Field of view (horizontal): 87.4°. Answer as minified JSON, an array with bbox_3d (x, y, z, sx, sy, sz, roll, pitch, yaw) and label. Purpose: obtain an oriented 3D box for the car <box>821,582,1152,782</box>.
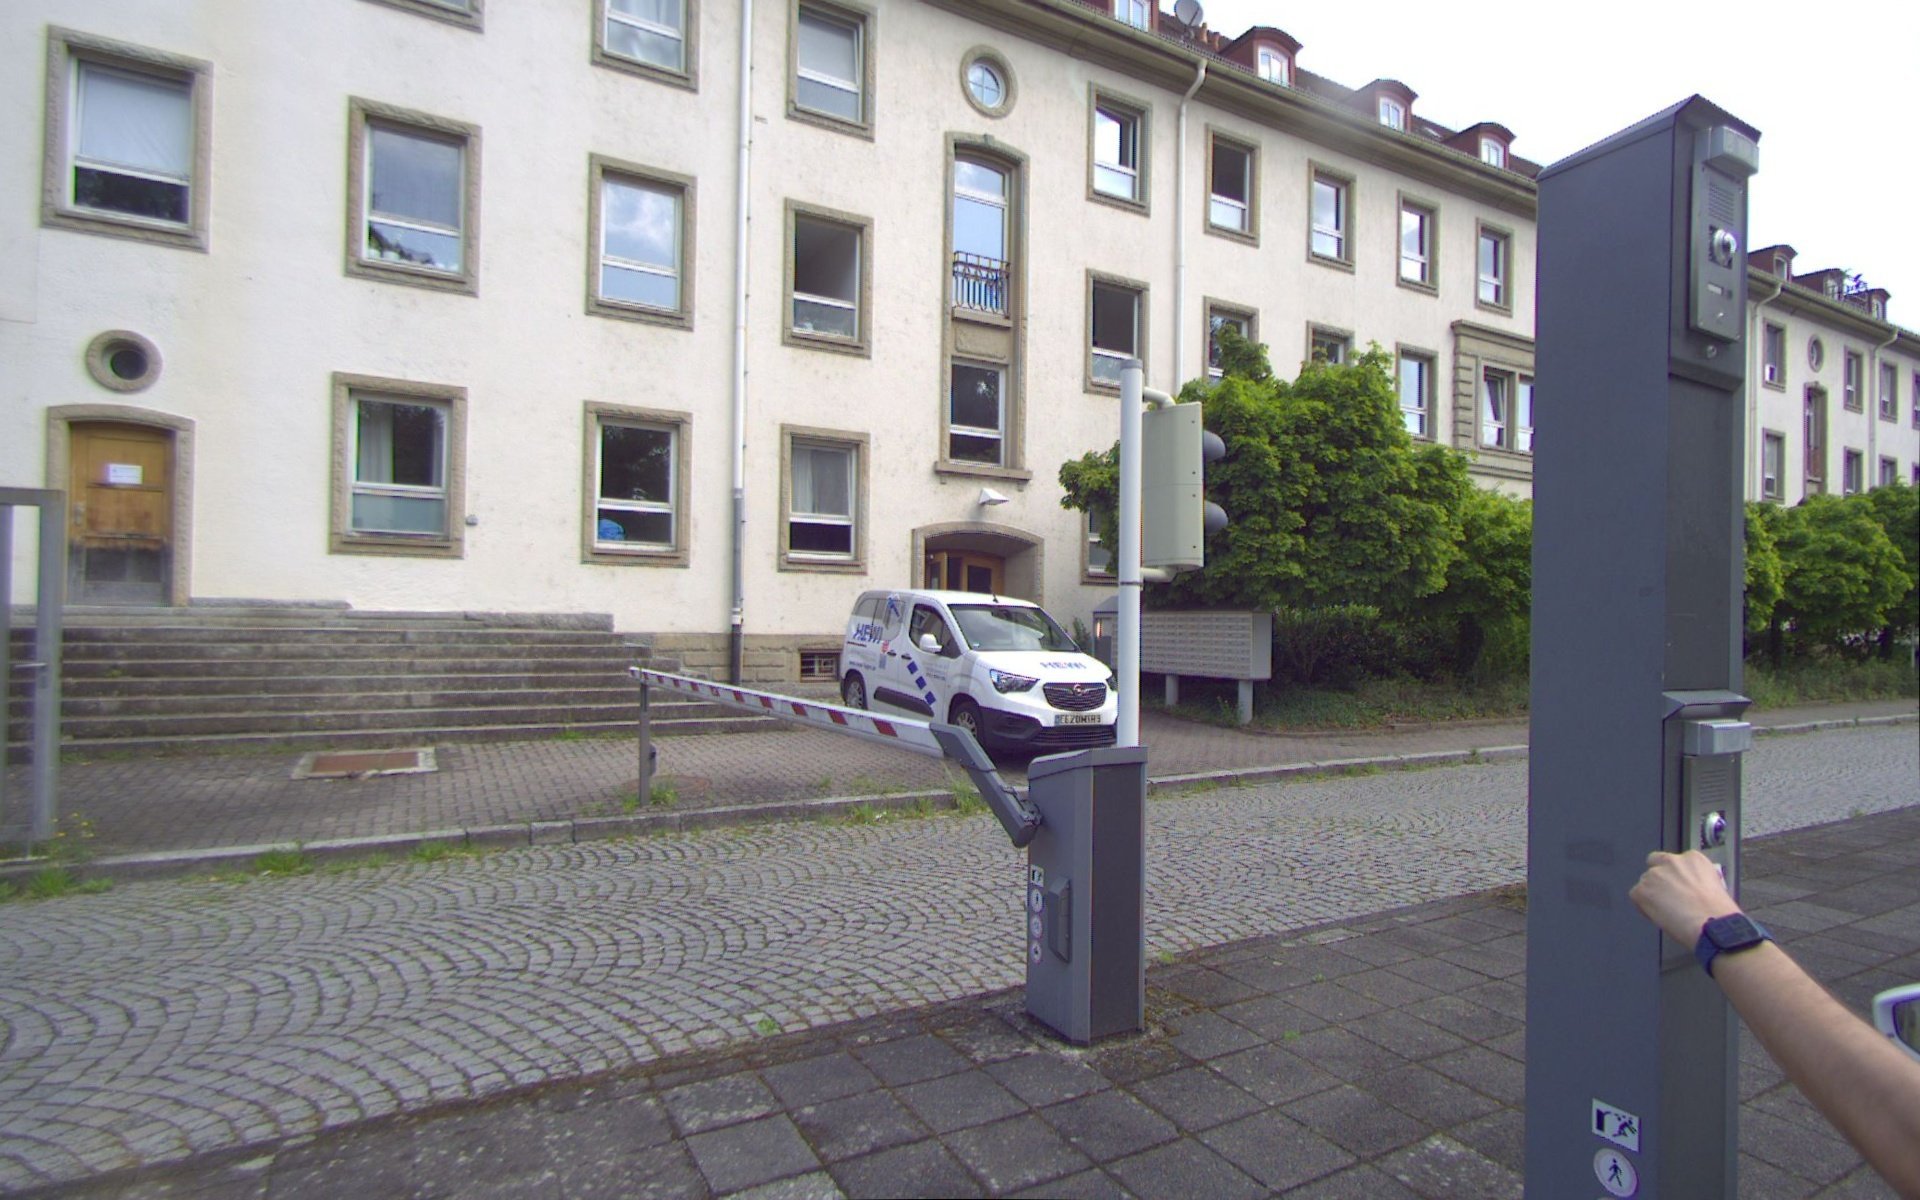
[{"bbox_3d":[0.088,0.790,12.152,1.838,1.775,4.410,1,3,-32],"label":"car"}]
